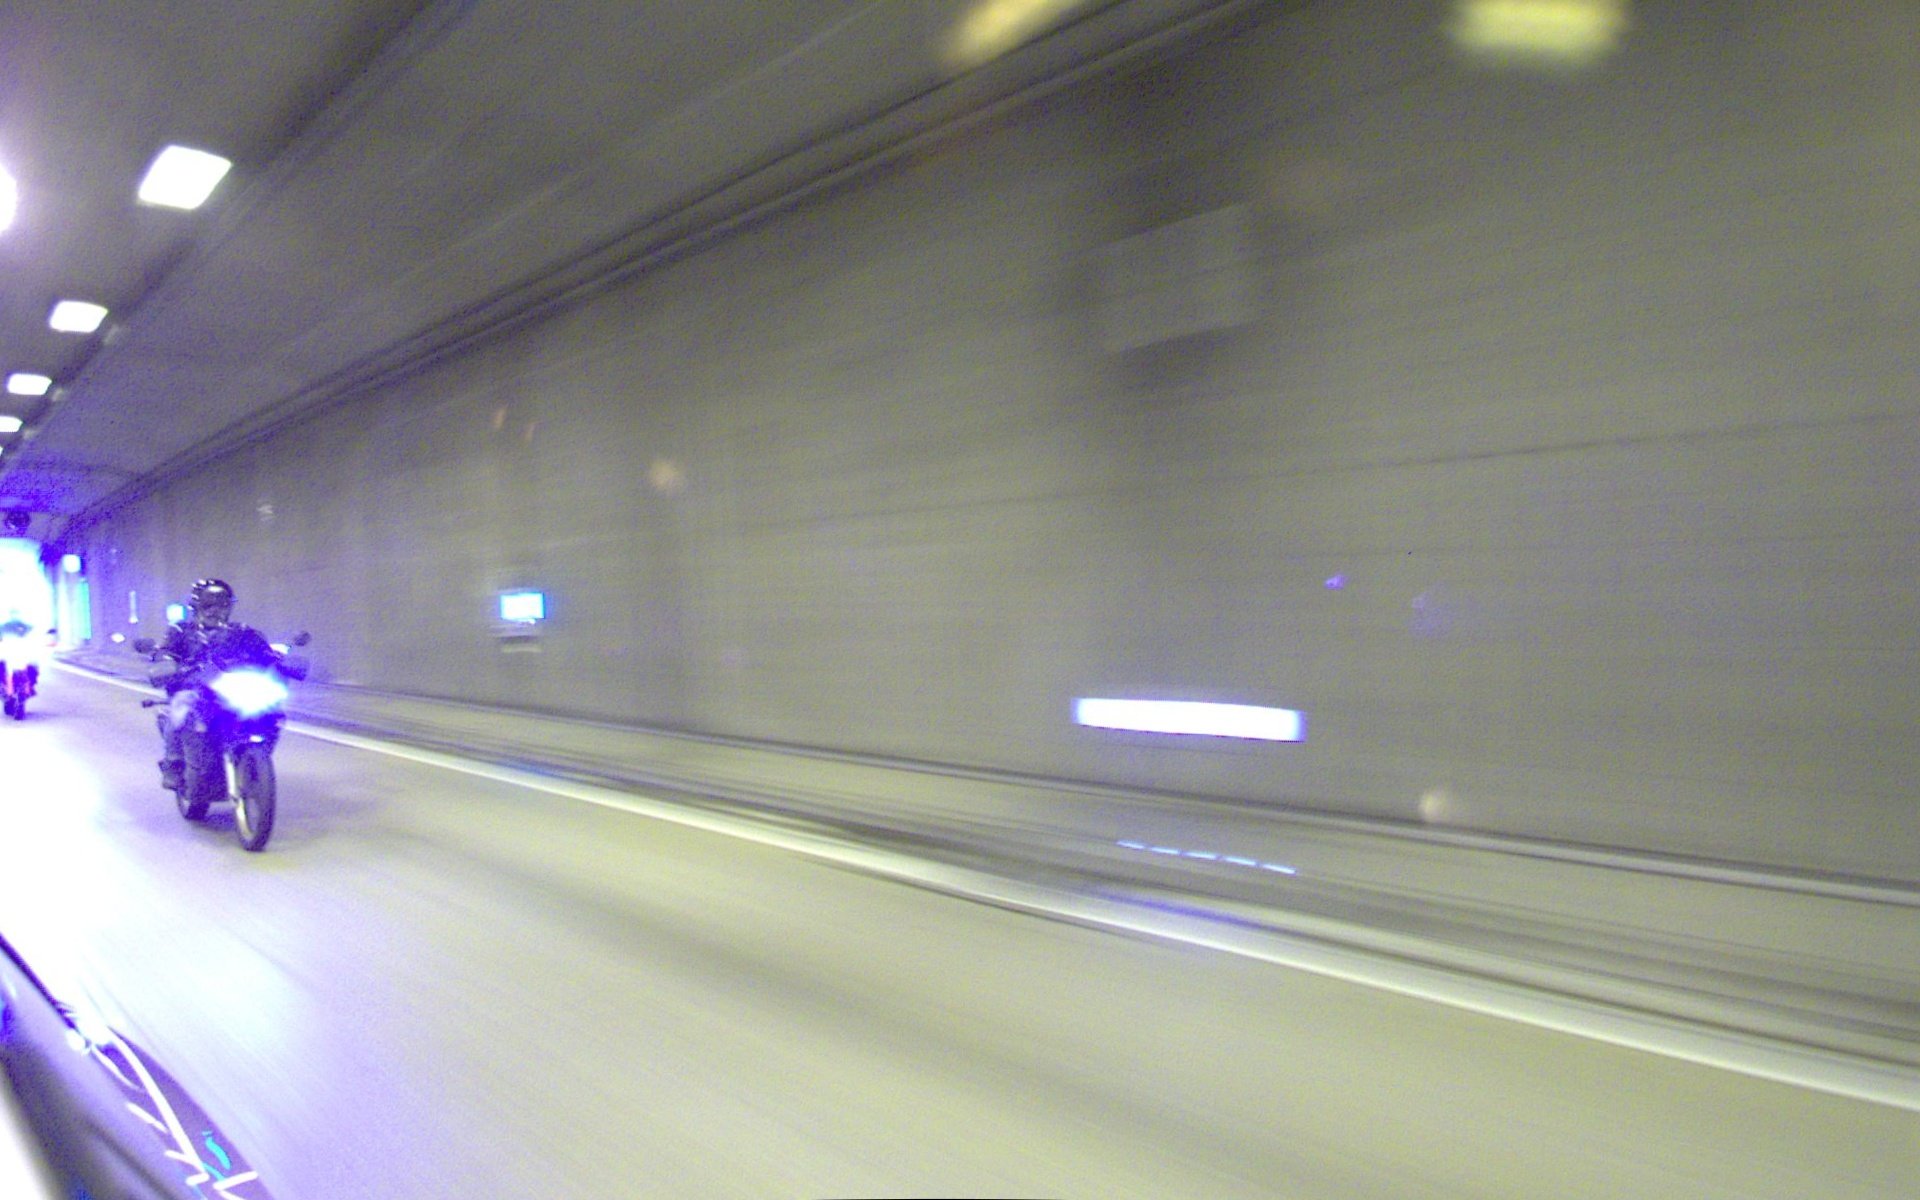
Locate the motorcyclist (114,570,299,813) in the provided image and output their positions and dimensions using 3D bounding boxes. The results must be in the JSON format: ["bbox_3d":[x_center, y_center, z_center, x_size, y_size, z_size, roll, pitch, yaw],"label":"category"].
[{"bbox_3d":[-5.044,0.566,6.781,0.821,1.488,0.830,-2,-1,40],"label":"motorcyclist"}]

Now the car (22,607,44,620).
[{"bbox_3d":[-136.387,1.955,148.954,1.968,1.812,4.008,-2,1,-37],"label":"car"}]

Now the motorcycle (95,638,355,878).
[{"bbox_3d":[-4.936,0.903,6.698,2.603,1.255,0.837,-1,0,41],"label":"motorcycle"}]

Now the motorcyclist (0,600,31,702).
[{"bbox_3d":[-14.541,0.759,15.285,0.889,1.500,0.621,-1,-1,39],"label":"motorcyclist"}]

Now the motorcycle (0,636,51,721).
[{"bbox_3d":[-14.460,1.141,15.084,2.426,1.166,1.042,-1,-1,40],"label":"motorcycle"}]
